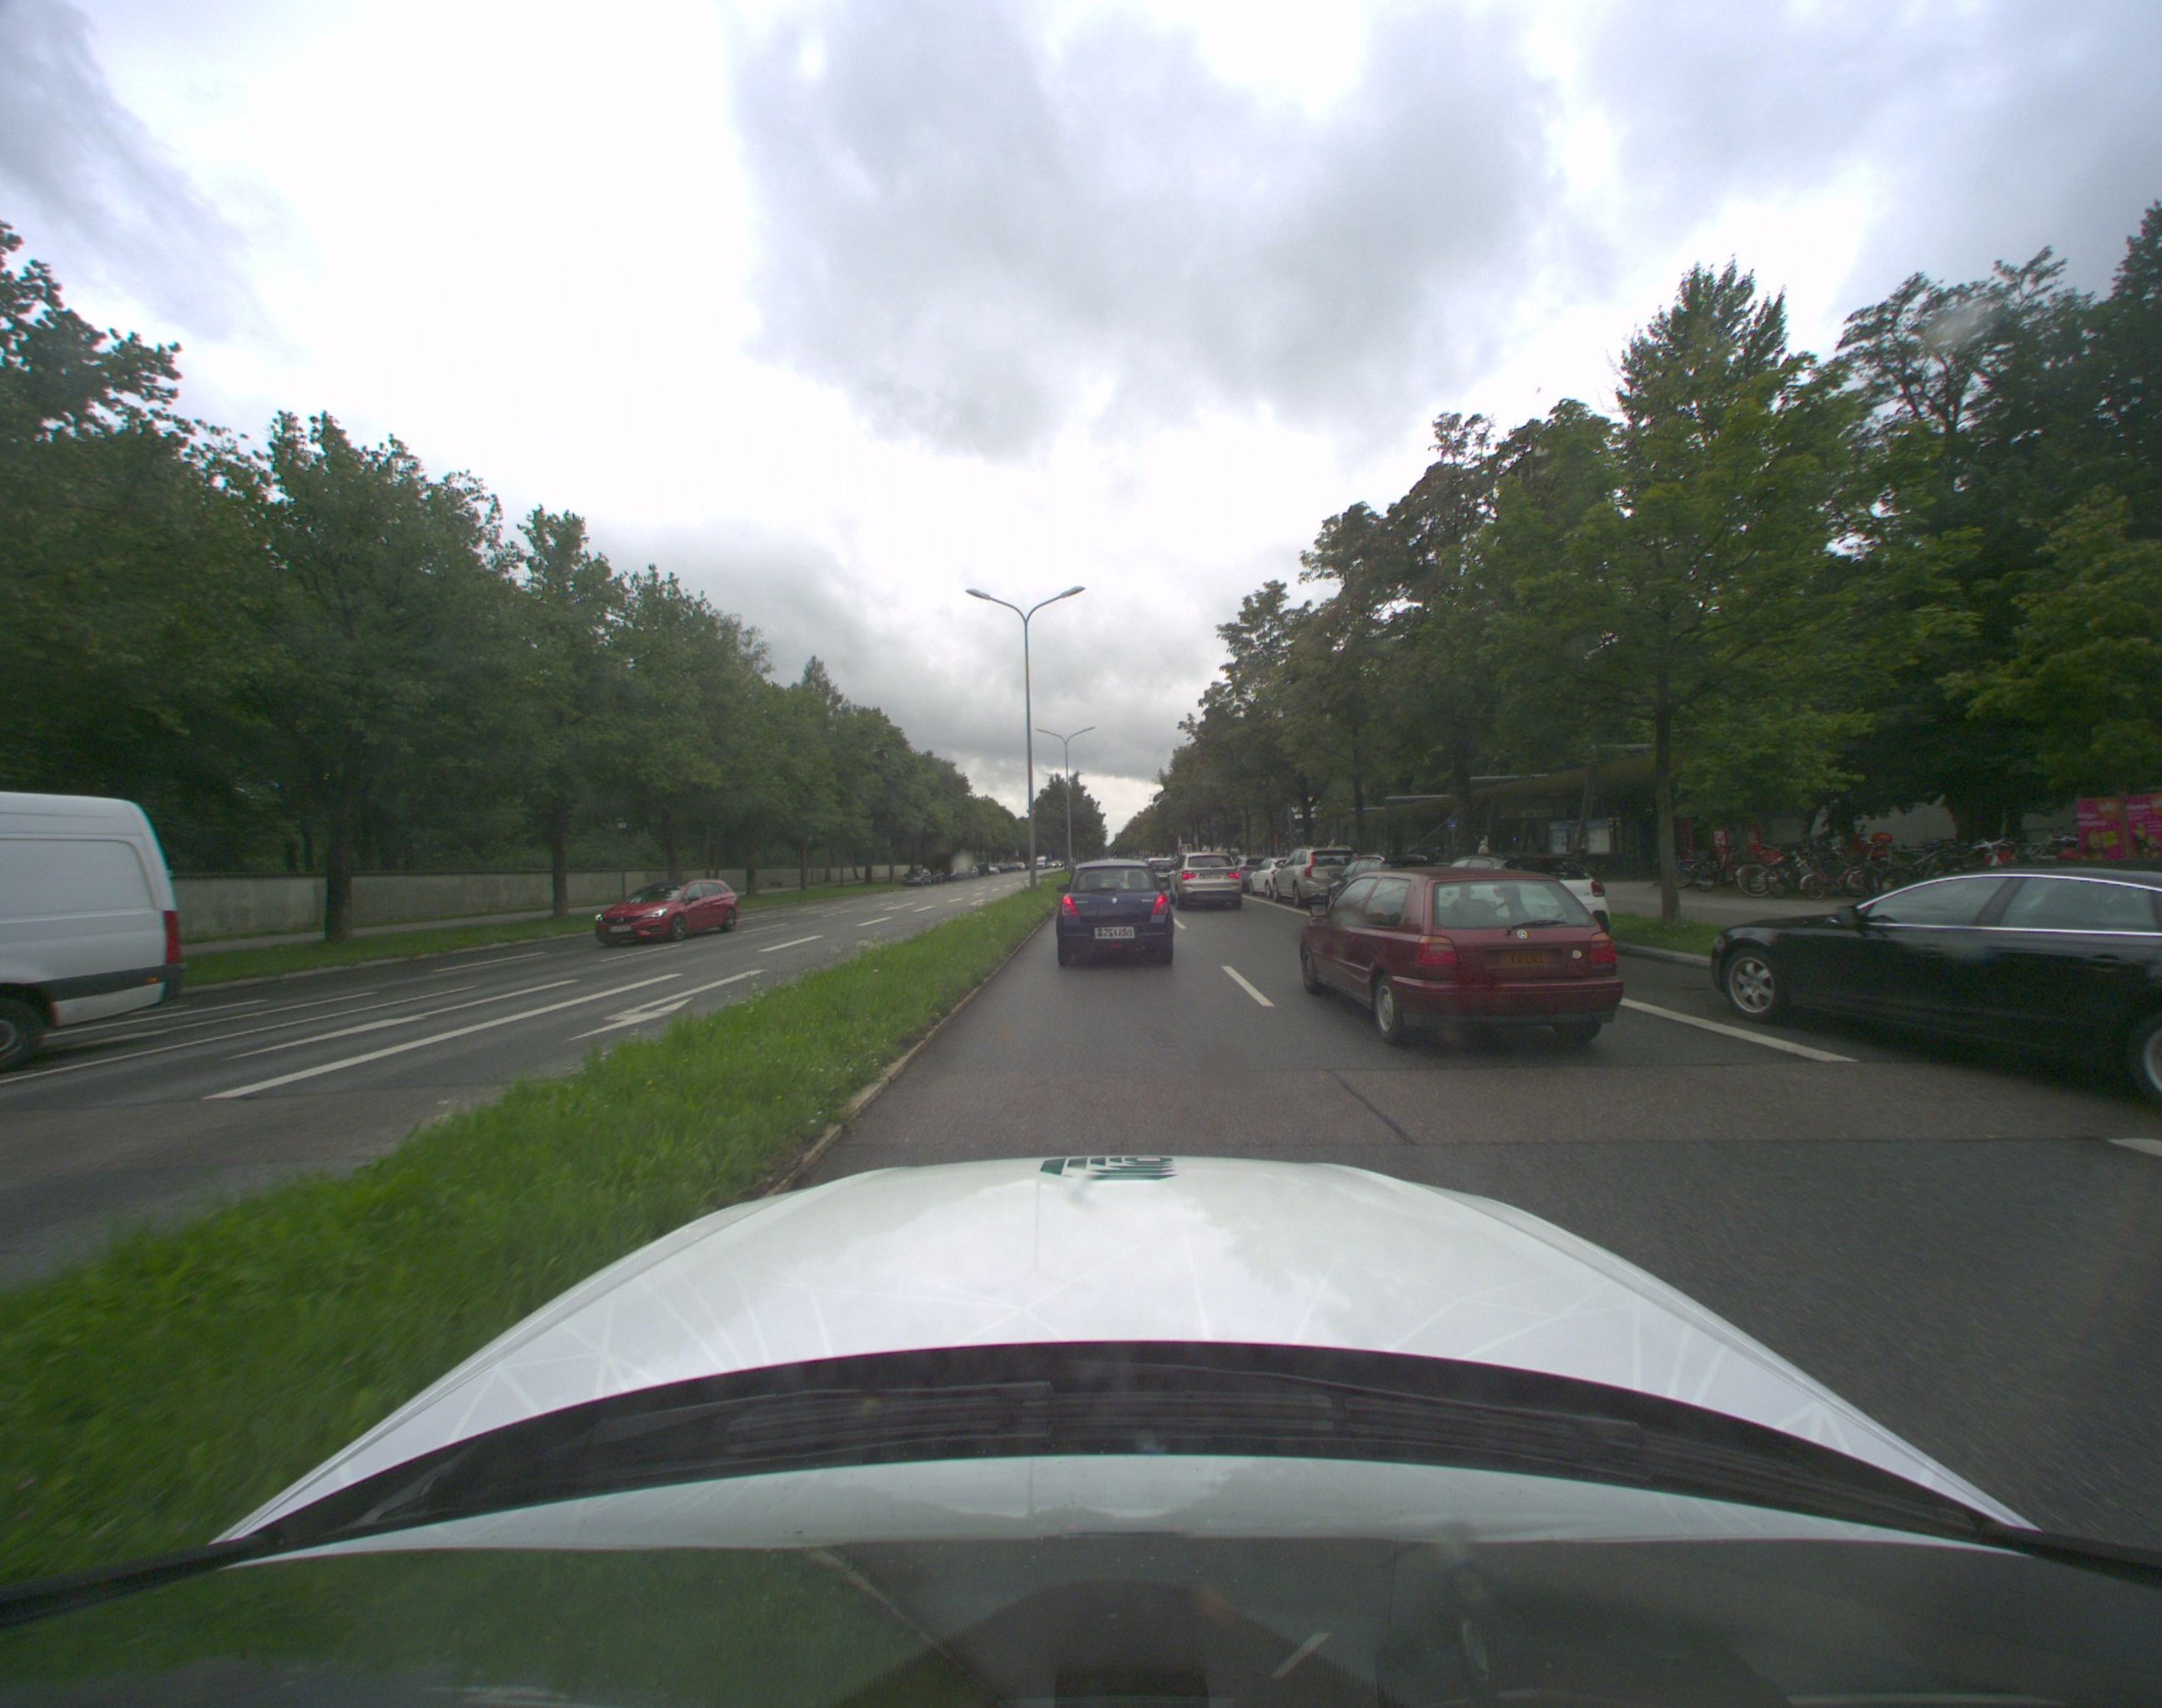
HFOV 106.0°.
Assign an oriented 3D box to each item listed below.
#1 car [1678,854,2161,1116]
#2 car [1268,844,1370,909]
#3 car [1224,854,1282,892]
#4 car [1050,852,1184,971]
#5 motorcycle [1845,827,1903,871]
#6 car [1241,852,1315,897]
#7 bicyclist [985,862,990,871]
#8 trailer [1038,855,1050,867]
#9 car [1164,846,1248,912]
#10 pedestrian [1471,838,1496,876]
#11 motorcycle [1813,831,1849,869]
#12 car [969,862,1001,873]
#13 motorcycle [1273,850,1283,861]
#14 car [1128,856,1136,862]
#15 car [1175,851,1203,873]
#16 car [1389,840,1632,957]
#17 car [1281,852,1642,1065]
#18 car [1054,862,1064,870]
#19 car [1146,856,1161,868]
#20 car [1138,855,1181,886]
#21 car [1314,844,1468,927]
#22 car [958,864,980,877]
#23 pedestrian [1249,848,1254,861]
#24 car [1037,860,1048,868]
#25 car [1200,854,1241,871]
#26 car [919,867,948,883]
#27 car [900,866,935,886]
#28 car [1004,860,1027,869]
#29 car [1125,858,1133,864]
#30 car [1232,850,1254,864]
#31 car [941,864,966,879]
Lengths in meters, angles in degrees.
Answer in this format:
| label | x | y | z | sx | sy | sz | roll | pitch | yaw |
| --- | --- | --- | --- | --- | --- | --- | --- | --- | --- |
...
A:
| label | x | y | z | sx | sy | sz | roll | pitch | yaw |
| --- | --- | --- | --- | --- | --- | --- | --- | --- | --- |
| car | 6.554 | 0.694 | 5.469 | 1.705 | 1.360 | 4.620 | -1 | 0 | 0 |
| car | 6.986 | 0.603 | 24.423 | 1.740 | 1.724 | 4.909 | -1 | 0 | 2 |
| car | 7.350 | 0.796 | 35.207 | 1.714 | 1.534 | 4.401 | 0 | 0 | 2 |
| car | 0.512 | 0.796 | 13.158 | 1.783 | 1.555 | 4.000 | -2 | 0 | 0 |
| motorcycle | 22.797 | -0.152 | 23.446 | 0.650 | 1.177 | 1.824 | -2 | 0 | 27 |
| car | 7.313 | 0.709 | 30.593 | 1.696 | 1.508 | 4.504 | -2 | 0 | 1 |
| bicyclist | -18.660 | 2.473 | 162.113 | 0.702 | 1.747 | 0.923 | -2 | -1 | 2 |
| trailer | -8.306 | 1.512 | 184.799 | 2.098 | 2.540 | 5.579 | -2 | 0 | 2 |
| car | 3.648 | 0.688 | 24.448 | 1.844 | 1.743 | 4.097 | -2 | 0 | 0 |
| pedestrian | 16.593 | 0.129 | 33.588 | 0.580 | 1.513 | 0.690 | -2 | -1 | -17 |
| motorcycle | 22.117 | -0.125 | 24.040 | 0.650 | 1.062 | 1.825 | -3 | 0 | 40 |
| car | -13.500 | 1.940 | 114.128 | 4.015 | 1.354 | 1.831 | -2 | 0 | -33 |
| motorcycle | 25.452 | 0.195 | 105.282 | 0.693 | 1.290 | 2.067 | -7 | -1 | 2 |
| car | 13.138 | 1.304 | 208.894 | 1.844 | 1.447 | 4.097 | -2 | 0 | 0 |
| car | 8.850 | 0.638 | 66.984 | 1.780 | 1.675 | 4.596 | -2 | 0 | 1 |
| car | 6.749 | 0.626 | 13.418 | 1.707 | 1.547 | 4.382 | -2 | 0 | 1 |
| car | 3.174 | 0.749 | 7.738 | 1.616 | 1.454 | 3.951 | -2 | 0 | 1 |
| car | -4.762 | 2.510 | 175.080 | 1.907 | 1.542 | 4.187 | -2 | 0 | 0 |
| car | 10.050 | 1.076 | 113.551 | 1.758 | 1.651 | 4.425 | -2 | 0 | 2 |
| car | 4.004 | 0.840 | 42.194 | 1.844 | 1.447 | 4.097 | -2 | 0 | 0 |
| car | 6.818 | 0.609 | 18.500 | 1.741 | 1.547 | 4.643 | -4 | 0 | 1 |
| car | -13.194 | 1.912 | 96.164 | 1.629 | 1.439 | 4.812 | -1 | 0 | 3 |
| pedestrian | 23.849 | 0.073 | 114.118 | 0.572 | 1.751 | 0.733 | -2 | -1 | 6 |
| car | -8.288 | 2.118 | 175.380 | 1.907 | 1.542 | 4.187 | -2 | 0 | 0 |
| car | 14.412 | 0.846 | 83.746 | 1.948 | 1.625 | 4.877 | -2 | -1 | 40 |
| car | -13.696 | 1.928 | 75.703 | 1.653 | 1.396 | 4.709 | -1 | 0 | 2 |
| car | -13.943 | 1.851 | 69.721 | 1.792 | 1.490 | 4.917 | -1 | 0 | 2 |
| car | -12.685 | 2.052 | 157.778 | 4.122 | 1.585 | 1.900 | -2 | 0 | -32 |
| car | 13.057 | 1.855 | 222.747 | 1.844 | 1.447 | 4.097 | -2 | 0 | 0 |
| car | 20.235 | 0.382 | 101.850 | 1.986 | 1.651 | 4.002 | -2 | 0 | 2 |
| car | -13.134 | 1.769 | 84.146 | 1.563 | 1.503 | 4.310 | -1 | 0 | 6 |
